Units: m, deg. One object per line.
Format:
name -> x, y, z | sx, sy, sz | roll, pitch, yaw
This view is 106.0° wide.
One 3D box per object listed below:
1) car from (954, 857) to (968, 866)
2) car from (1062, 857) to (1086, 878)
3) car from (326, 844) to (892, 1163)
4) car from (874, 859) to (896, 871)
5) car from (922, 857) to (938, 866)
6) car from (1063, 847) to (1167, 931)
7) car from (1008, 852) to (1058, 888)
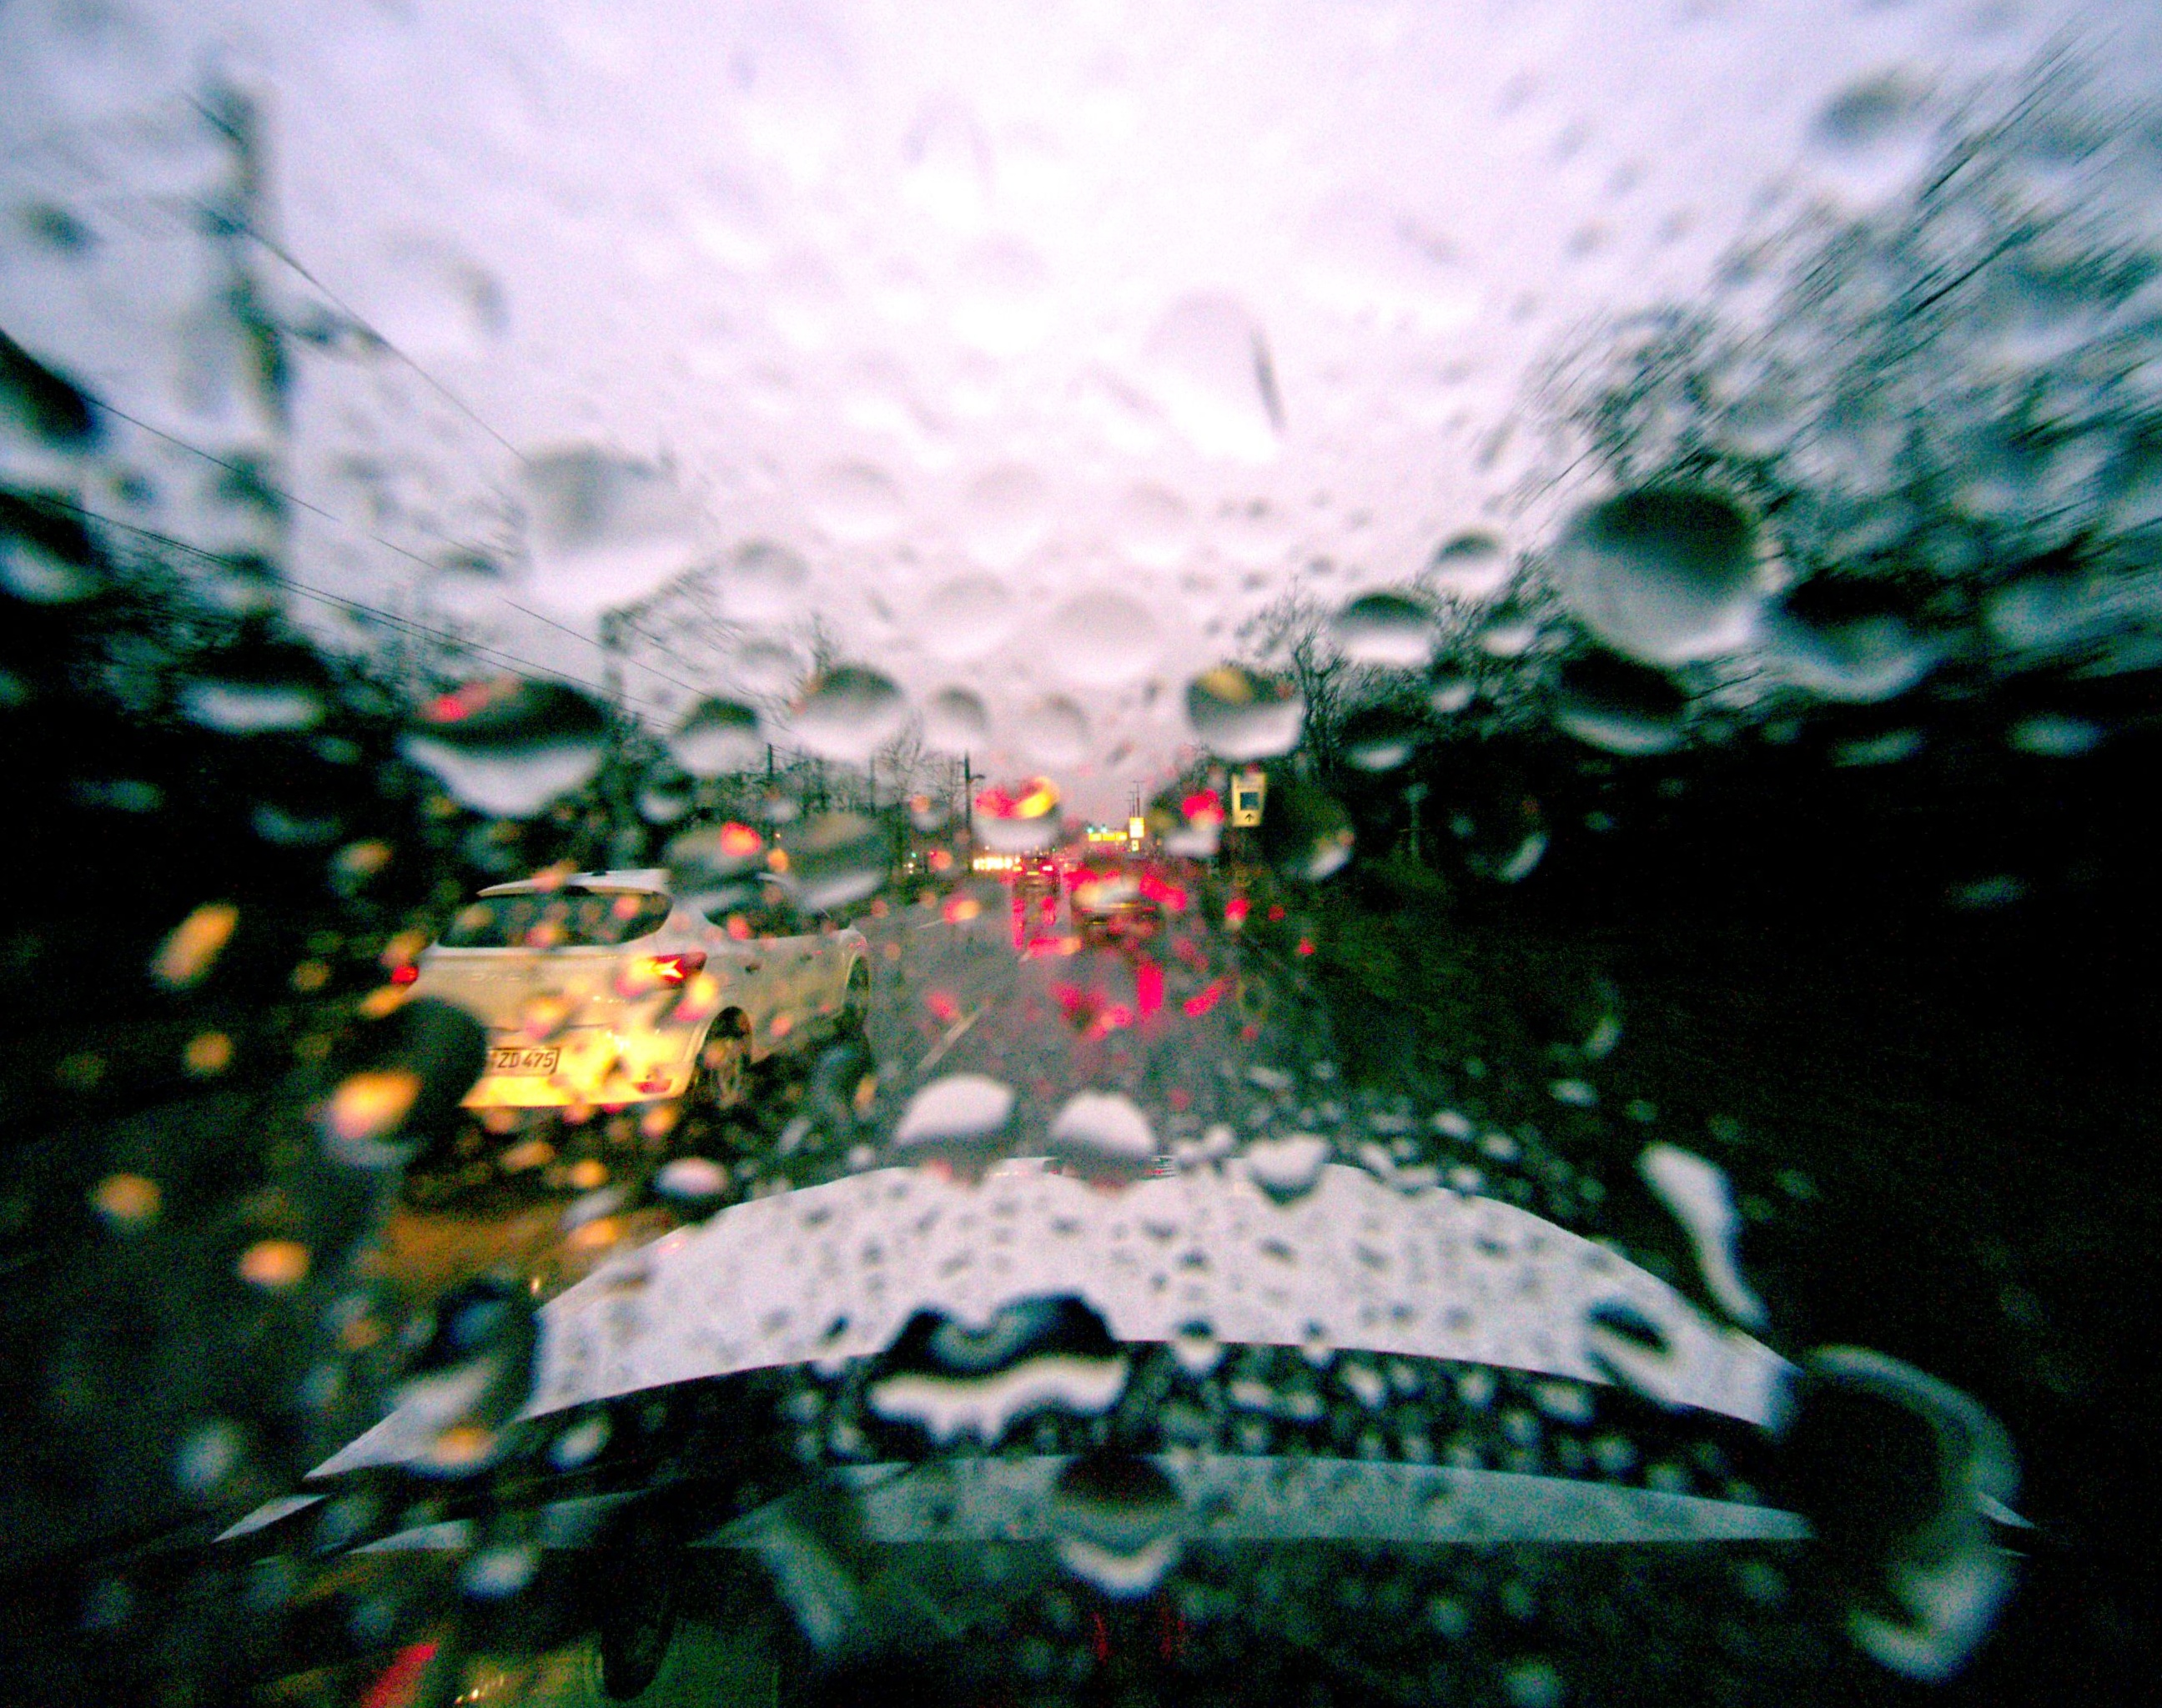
car -> -23.096, 1.472, 157.235 | 1.986, 1.658, 4.002 | 0, -1, 2
car -> -0.550, 1.062, 64.819 | 1.702, 1.558, 3.998 | -1, 0, 2
car -> -2.799, 0.743, 6.060 | 1.702, 1.525, 4.135 | -1, 0, 1
car -> -27.507, 1.548, 114.311 | 1.986, 1.658, 4.002 | 0, -1, 2
car -> -27.820, 1.438, 150.087 | 1.986, 1.658, 4.002 | 0, -1, 2
car -> 0.717, 0.676, 17.691 | 1.991, 1.584, 4.002 | -1, 0, 2
car -> -2.037, 0.668, 35.712 | 1.873, 1.459, 4.001 | -1, 0, 1
